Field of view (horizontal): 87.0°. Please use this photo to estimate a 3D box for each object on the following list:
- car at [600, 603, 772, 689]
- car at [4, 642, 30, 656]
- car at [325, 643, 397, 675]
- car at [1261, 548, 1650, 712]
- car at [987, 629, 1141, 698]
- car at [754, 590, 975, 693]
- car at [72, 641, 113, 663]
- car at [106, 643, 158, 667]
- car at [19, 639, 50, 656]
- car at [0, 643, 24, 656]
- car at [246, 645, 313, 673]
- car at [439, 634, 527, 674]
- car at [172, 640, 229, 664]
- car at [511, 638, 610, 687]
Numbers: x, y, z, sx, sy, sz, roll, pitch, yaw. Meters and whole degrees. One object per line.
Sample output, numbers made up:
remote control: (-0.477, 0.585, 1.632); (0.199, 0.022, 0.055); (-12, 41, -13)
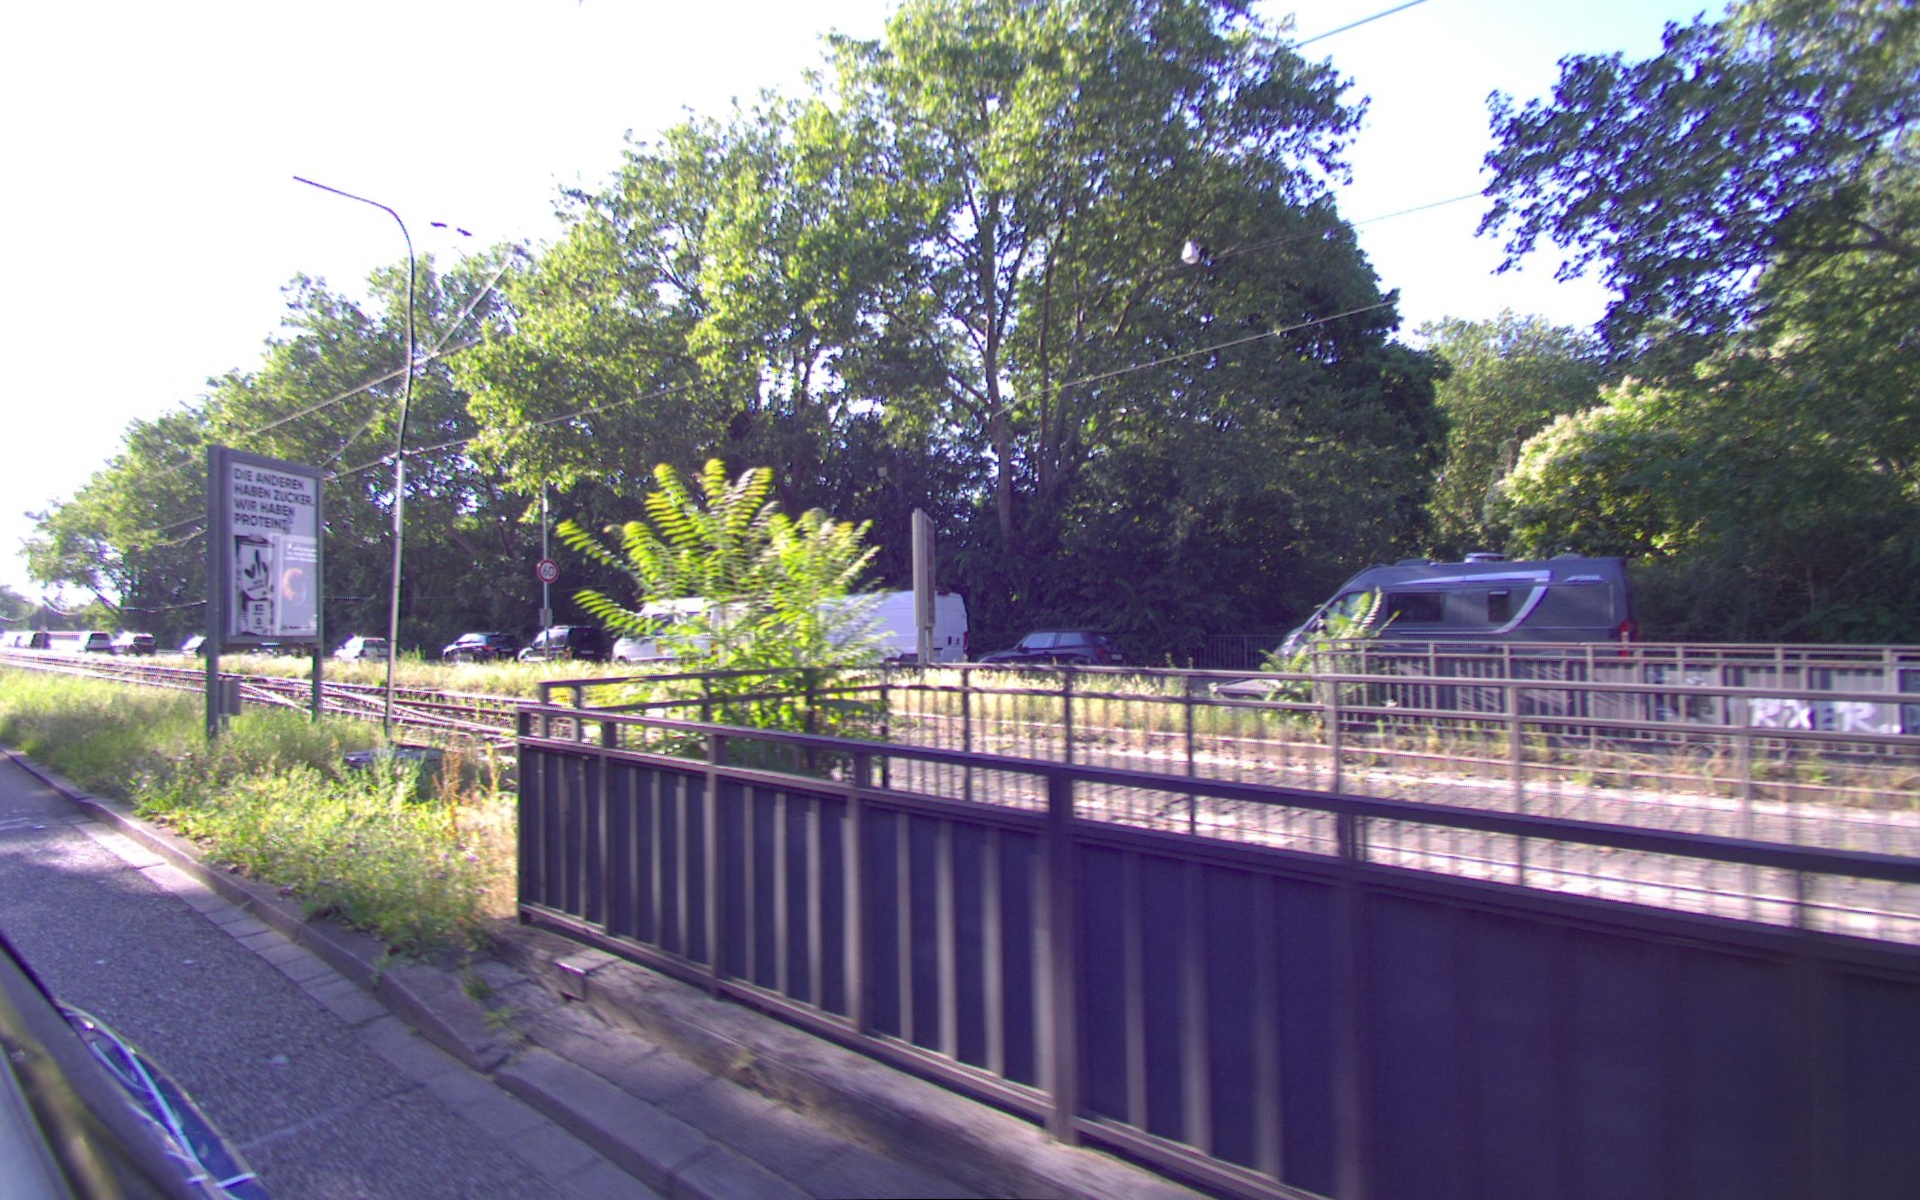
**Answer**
car: (-8.927, 1.490, 32.661); (6.043, 2.540, 2.162); (-2, -4, 39)
car: (-104.358, 5.441, 111.998); (3.782, 1.453, 1.637); (-2, -4, 40)
car: (-29.107, 2.848, 49.161); (3.847, 1.448, 1.722); (-2, -4, 39)
car: (8.786, 0.575, 18.386); (6.025, 2.540, 2.162); (-2, -4, 39)
car: (2.426, 1.463, 23.824); (3.261, 1.524, 1.636); (-2, -4, 38)
car: (-2.731, 1.142, 27.817); (6.262, 2.540, 2.163); (-2, -4, 37)
car: (-74.376, 4.437, 86.714); (4.389, 1.855, 1.809); (-2, -4, 39)
car: (-62.383, 4.103, 76.222); (4.384, 1.732, 1.811); (-1, -4, 35)
car: (-95.922, 4.901, 104.849); (3.895, 1.753, 1.713); (-2, -4, 39)
car: (-108.398, 5.655, 115.580); (3.920, 1.511, 1.638); (-2, -4, 39)
car: (-37.439, 3.230, 55.660); (4.319, 1.448, 1.809); (-2, -4, 39)
car: (-19.572, 2.189, 41.462); (3.877, 1.567, 1.722); (-2, -4, 39)
car: (-48.159, 3.282, 64.165); (4.389, 1.517, 1.809); (-2, -4, 39)
car: (-14.944, 2.297, 37.789); (3.877, 1.741, 1.722); (-2, -4, 39)
